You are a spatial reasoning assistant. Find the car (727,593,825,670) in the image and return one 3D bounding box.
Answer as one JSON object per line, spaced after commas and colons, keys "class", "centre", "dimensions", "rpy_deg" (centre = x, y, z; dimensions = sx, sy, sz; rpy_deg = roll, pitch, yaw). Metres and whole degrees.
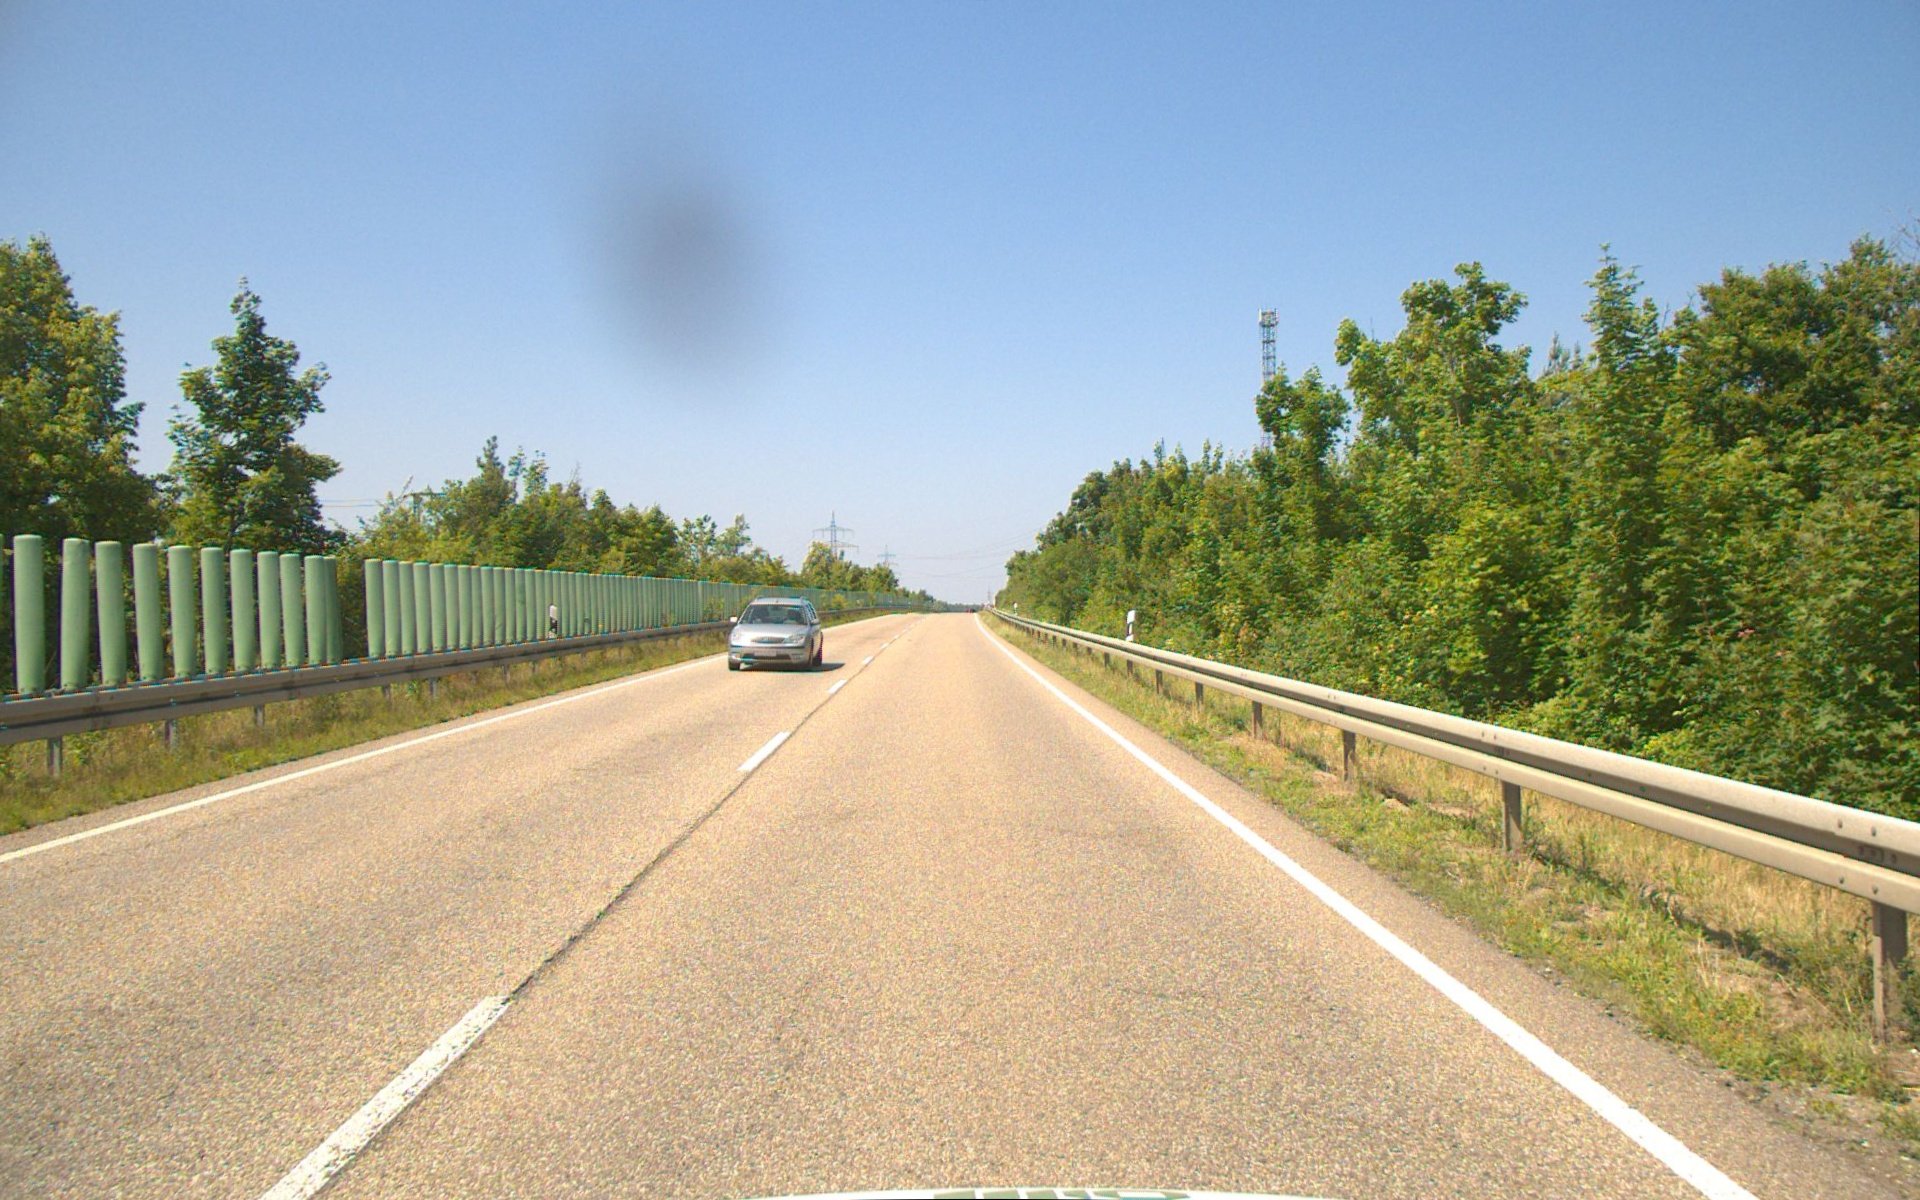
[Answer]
{"class": "car", "centre": [-3.846, 0.622, 35.162], "dimensions": [1.685, 1.527, 4.247], "rpy_deg": [0, 0, -1]}
